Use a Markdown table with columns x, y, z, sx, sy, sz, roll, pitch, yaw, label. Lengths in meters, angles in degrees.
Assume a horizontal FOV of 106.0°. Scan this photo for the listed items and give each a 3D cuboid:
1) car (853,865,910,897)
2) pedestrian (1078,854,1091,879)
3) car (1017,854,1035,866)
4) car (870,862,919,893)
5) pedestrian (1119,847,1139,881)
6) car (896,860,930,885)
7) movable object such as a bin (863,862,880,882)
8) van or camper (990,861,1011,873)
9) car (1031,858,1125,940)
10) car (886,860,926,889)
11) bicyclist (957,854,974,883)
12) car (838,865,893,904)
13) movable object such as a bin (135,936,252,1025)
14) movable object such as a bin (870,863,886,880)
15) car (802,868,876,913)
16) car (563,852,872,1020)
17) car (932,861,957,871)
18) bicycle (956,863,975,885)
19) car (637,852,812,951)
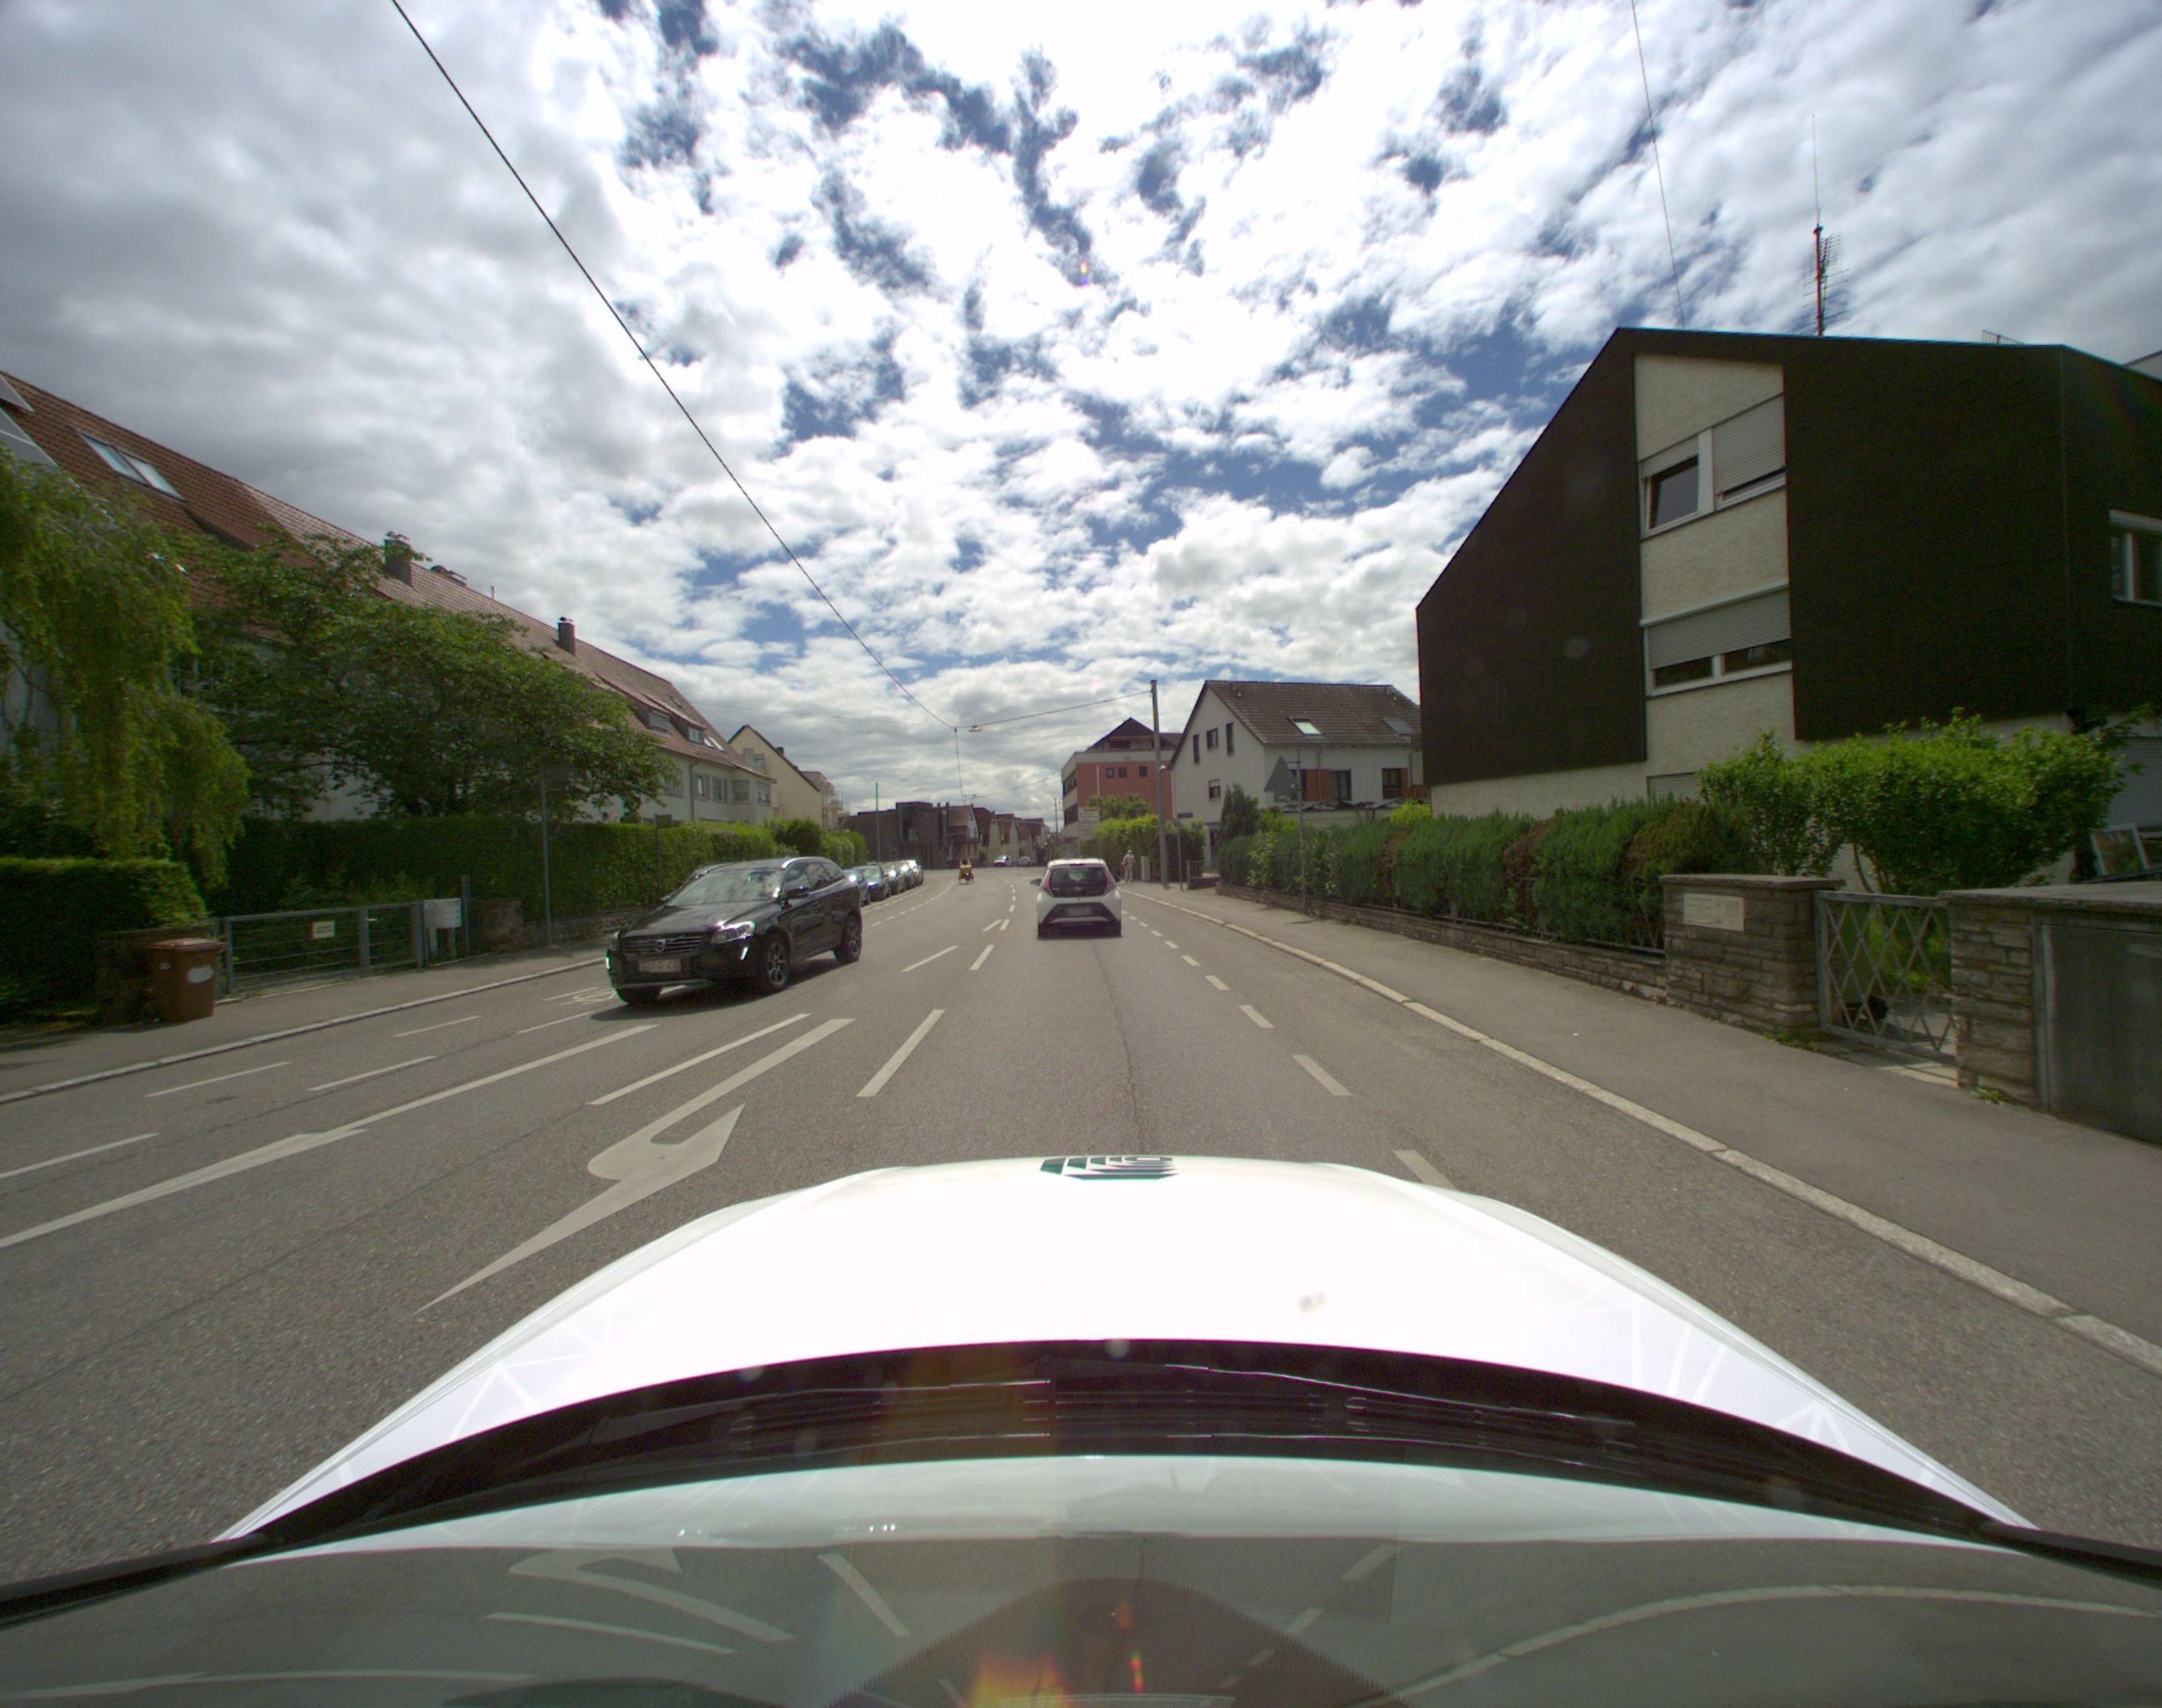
| x | y | z | sx | sy | sz | roll | pitch | yaw | label |
| --- | --- | --- | --- | --- | --- | --- | --- | --- | --- |
| -9.914 | 1.295 | 40.824 | 1.990 | 1.408 | 4.681 | -3 | 0 | -5 | car |
| 0.222 | 0.813 | 52.728 | 0.601 | 1.605 | 0.834 | -4 | 0 | -6 | pedestrian |
| -8.730 | 0.979 | 129.041 | 1.983 | 1.904 | 4.008 | -1 | -1 | 7 | car |
| -10.539 | 1.311 | 46.441 | 1.990 | 1.564 | 4.681 | -3 | 0 | -5 | car |
| 2.366 | 0.480 | 40.249 | 0.798 | 1.617 | 0.652 | -4 | 0 | -6 | pedestrian |
| -11.651 | 1.283 | 56.803 | 1.993 | 1.587 | 4.476 | -3 | 0 | -8 | car |
| -16.340 | 1.367 | 63.496 | 1.065 | 1.482 | 1.210 | -2 | 0 | -9 | movable object such as a bin |
| -12.744 | 2.026 | 129.806 | 2.103 | 1.926 | 5.297 | -1 | -1 | 8 | van or camper |
| -0.037 | 0.832 | 16.387 | 1.691 | 1.456 | 3.299 | -1 | -1 | 0 | car |
| -11.045 | 1.233 | 51.609 | 1.992 | 1.650 | 4.506 | -3 | 0 | -7 | car |
| -7.067 | 0.859 | 49.875 | 0.790 | 1.713 | 1.208 | -2 | 0 | -2 | bicyclist |
| -9.259 | 1.260 | 35.274 | 1.777 | 1.491 | 4.551 | -3 | 0 | -9 | car |
| -10.509 | 1.482 | 9.664 | 0.674 | 0.945 | 0.645 | -1 | 0 | -1 | movable object such as a bin |
| -16.144 | 1.364 | 64.832 | 1.064 | 1.313 | 1.212 | -2 | 0 | -6 | movable object such as a bin |
| -8.886 | 1.282 | 30.267 | 1.775 | 1.417 | 4.430 | -3 | 0 | -6 | car |
| -4.541 | 0.900 | 11.065 | 1.908 | 1.648 | 4.298 | -6 | 0 | 3 | car |
| -22.388 | 2.004 | 133.618 | 3.598 | 1.605 | 1.693 | -1 | -1 | 4 | car |
| -7.042 | 1.209 | 49.879 | 0.861 | 1.301 | 2.658 | -2 | 0 | -3 | bicycle |
| -8.211 | 0.985 | 19.443 | 1.990 | 1.895 | 5.396 | -4 | 0 | -4 | car |
